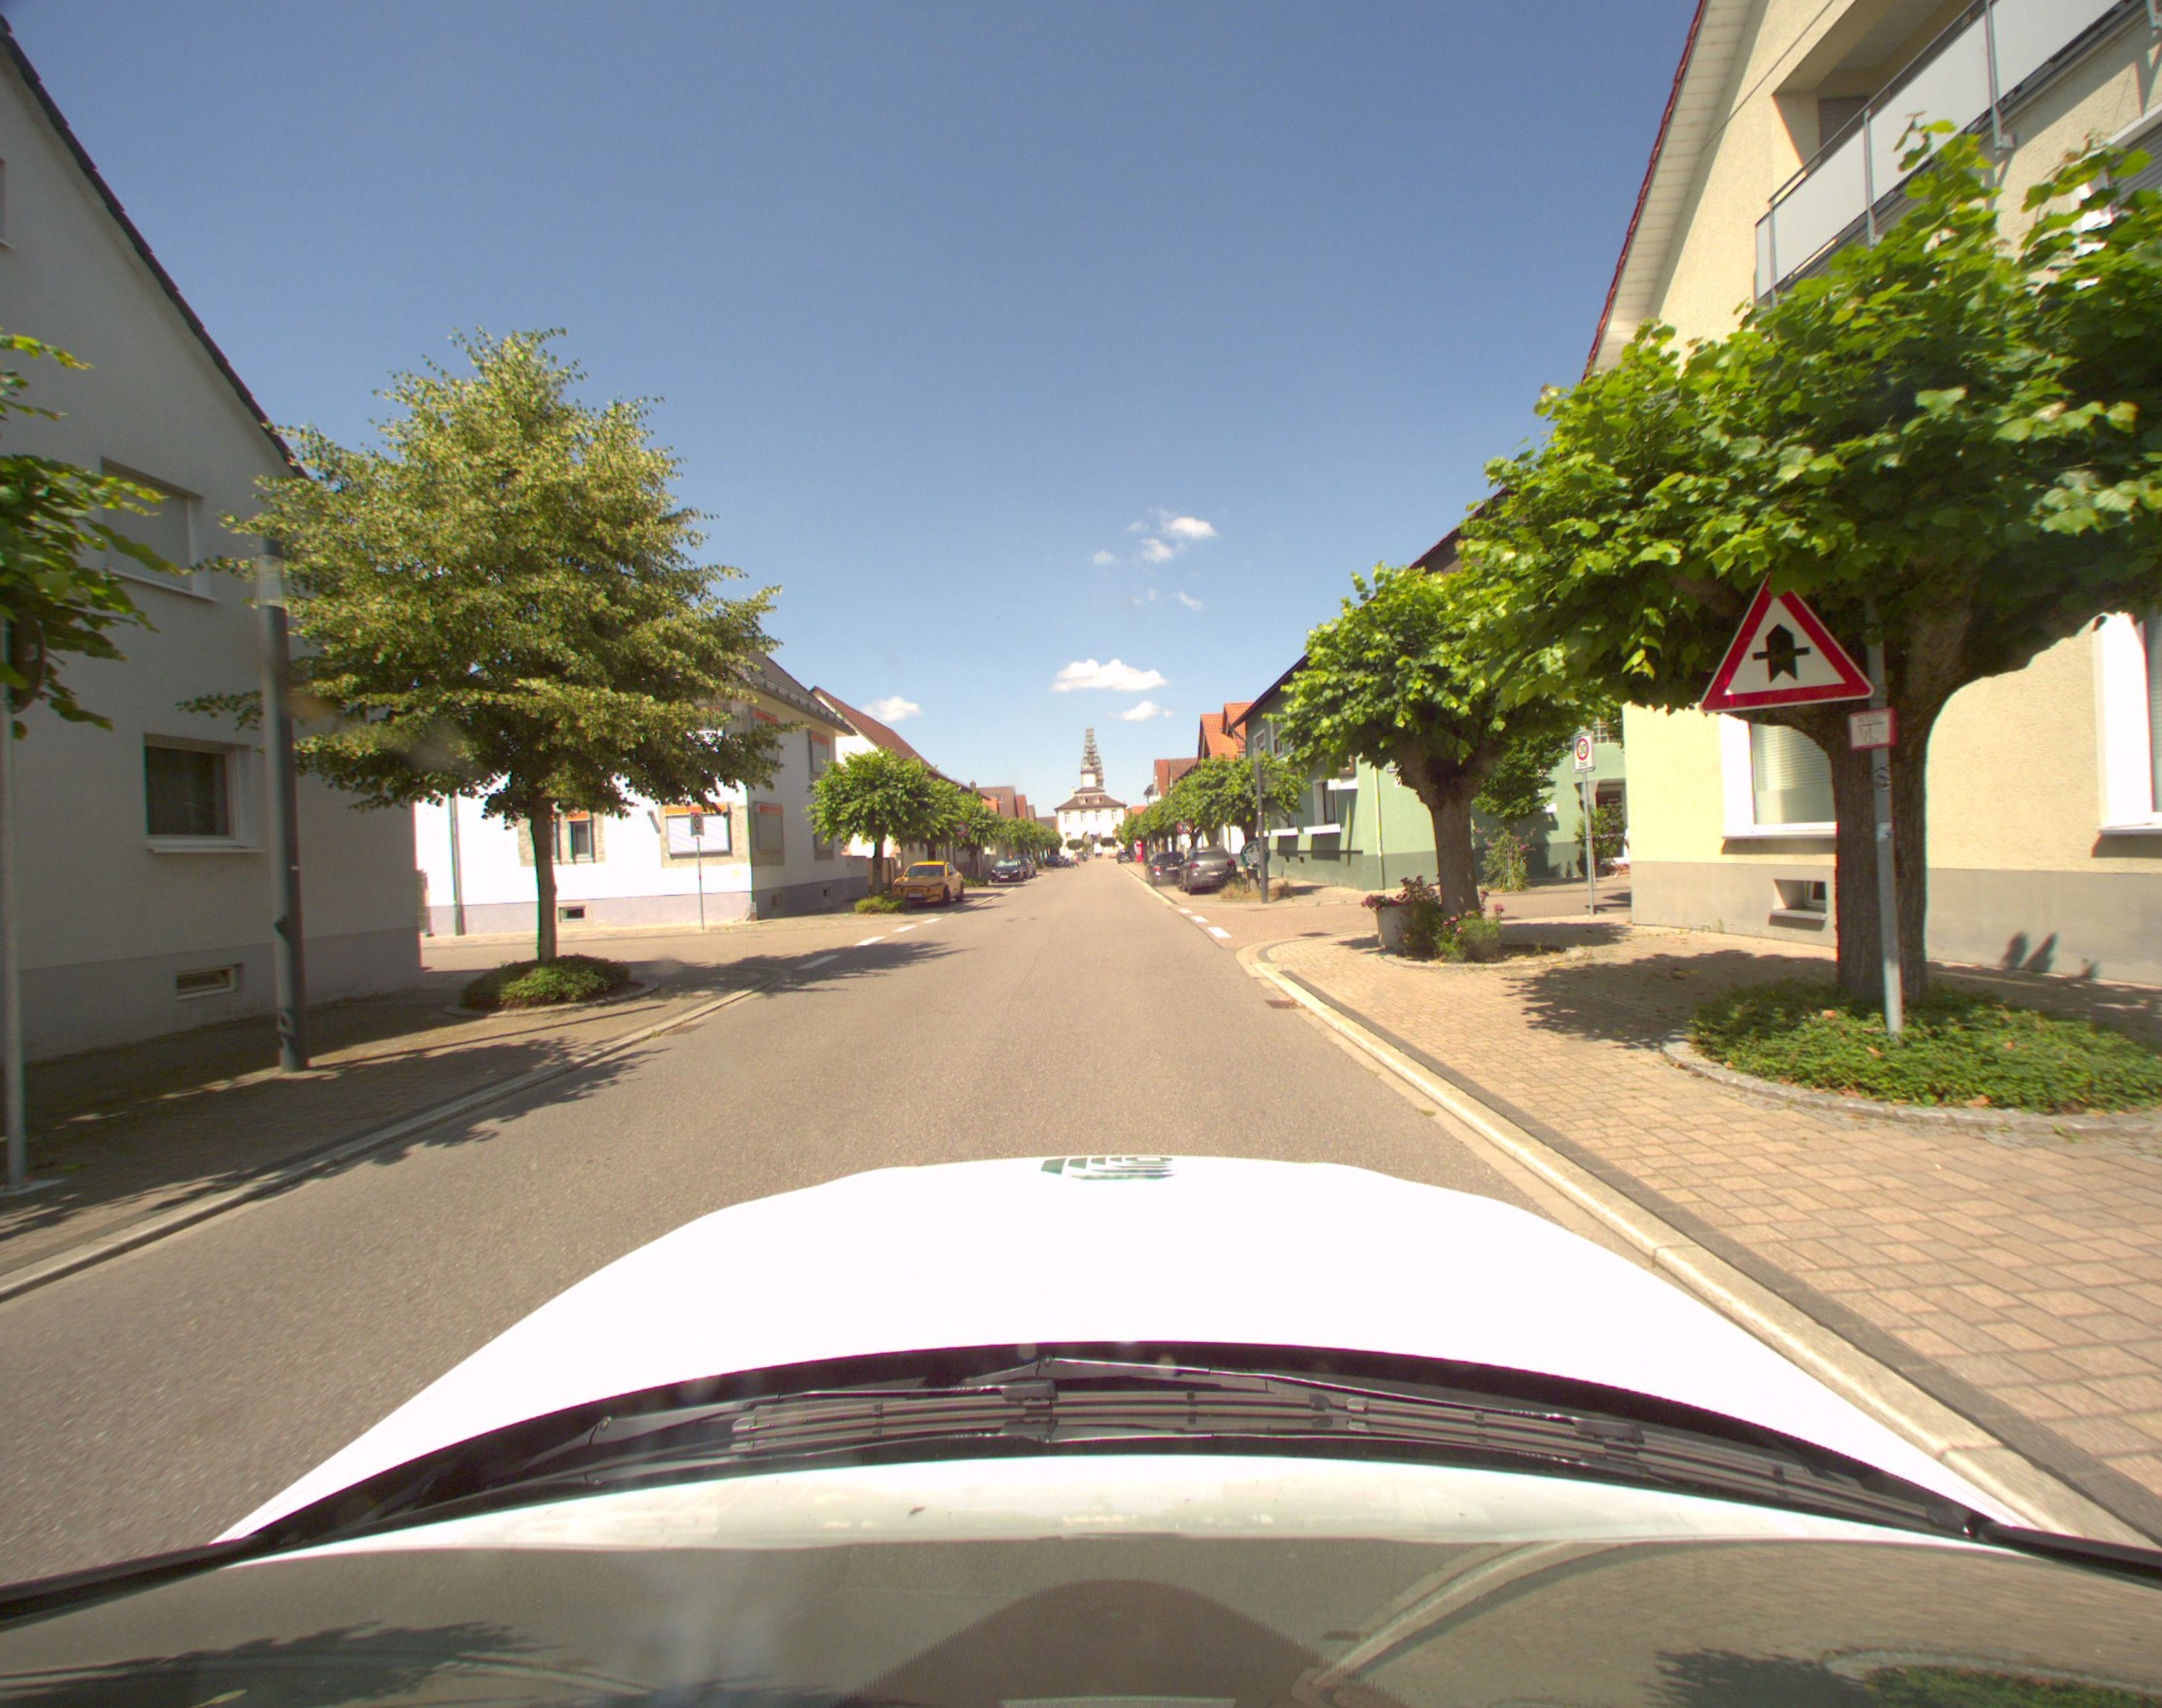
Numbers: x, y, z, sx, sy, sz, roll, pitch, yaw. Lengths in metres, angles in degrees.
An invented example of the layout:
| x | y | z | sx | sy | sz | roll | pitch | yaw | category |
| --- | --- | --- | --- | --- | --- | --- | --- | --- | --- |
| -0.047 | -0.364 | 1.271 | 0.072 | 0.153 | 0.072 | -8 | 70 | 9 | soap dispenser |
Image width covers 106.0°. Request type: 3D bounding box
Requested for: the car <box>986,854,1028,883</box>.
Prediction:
| x | y | z | sx | sy | sz | roll | pitch | yaw | category |
| --- | --- | --- | --- | --- | --- | --- | --- | --- | --- |
| -4.615 | 0.878 | 51.321 | 1.986 | 1.611 | 4.692 | -1 | 1 | 2 | car |

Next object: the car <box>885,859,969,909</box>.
| x | y | z | sx | sy | sz | roll | pitch | yaw | category |
| --- | --- | --- | --- | --- | --- | --- | --- | --- | --- |
| -5.537 | 1.022 | 29.927 | 1.986 | 1.611 | 4.691 | -1 | 0 | 2 | car |

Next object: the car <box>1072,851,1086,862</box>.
| x | y | z | sx | sy | sz | roll | pitch | yaw | category |
| --- | --- | --- | --- | --- | --- | --- | --- | --- | --- |
| -0.353 | 0.358 | 126.975 | 1.989 | 1.611 | 4.501 | -1 | -1 | -3 | car |

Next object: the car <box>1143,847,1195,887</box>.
| x | y | z | sx | sy | sz | roll | pitch | yaw | category |
| --- | --- | --- | --- | --- | --- | --- | --- | --- | --- |
| 3.941 | 0.548 | 37.103 | 1.831 | 1.555 | 4.314 | -5 | 0 | 1 | car |

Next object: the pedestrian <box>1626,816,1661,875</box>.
| x | y | z | sx | sy | sz | roll | pitch | yaw | category |
| --- | --- | --- | --- | --- | --- | --- | --- | --- | --- |
| 15.143 | -0.229 | 21.934 | 0.543 | 1.570 | 0.545 | -1 | -1 | -3 | pedestrian |

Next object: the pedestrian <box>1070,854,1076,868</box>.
| x | y | z | sx | sy | sz | roll | pitch | yaw | category |
| --- | --- | --- | --- | --- | --- | --- | --- | --- | --- |
| -0.846 | 0.754 | 85.786 | 0.354 | 1.403 | 0.322 | -3 | 0 | 38 | pedestrian |

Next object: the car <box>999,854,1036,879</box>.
| x | y | z | sx | sy | sz | roll | pitch | yaw | category |
| --- | --- | --- | --- | --- | --- | --- | --- | --- | --- |
| -4.384 | 0.851 | 57.053 | 1.986 | 1.611 | 4.691 | -1 | -1 | 2 | car |

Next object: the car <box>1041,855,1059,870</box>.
| x | y | z | sx | sy | sz | roll | pitch | yaw | category |
| --- | --- | --- | --- | --- | --- | --- | --- | --- | --- |
| -3.561 | 0.990 | 94.329 | 1.751 | 1.555 | 4.022 | -3 | 0 | 2 | car |

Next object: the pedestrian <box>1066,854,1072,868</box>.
| x | y | z | sx | sy | sz | roll | pitch | yaw | category |
| --- | --- | --- | --- | --- | --- | --- | --- | --- | --- |
| -1.260 | 0.760 | 85.580 | 0.354 | 1.403 | 0.322 | -3 | 0 | 38 | pedestrian |

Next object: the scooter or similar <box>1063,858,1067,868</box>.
| x | y | z | sx | sy | sz | roll | pitch | yaw | category |
| --- | --- | --- | --- | --- | --- | --- | --- | --- | --- |
| -1.689 | 0.915 | 85.585 | 0.326 | 1.003 | 0.243 | -3 | 0 | 38 | scooter or similar |

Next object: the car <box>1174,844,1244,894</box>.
| x | y | z | sx | sy | sz | roll | pitch | yaw | category |
| --- | --- | --- | --- | --- | --- | --- | --- | --- | --- |
| 4.531 | 0.495 | 29.430 | 1.831 | 1.607 | 3.999 | -3 | 0 | 0 | car |

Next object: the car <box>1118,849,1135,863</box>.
| x | y | z | sx | sy | sz | roll | pitch | yaw | category |
| --- | --- | --- | --- | --- | --- | --- | --- | --- | --- |
| 5.589 | 0.281 | 99.800 | 1.830 | 1.555 | 4.315 | -5 | 0 | 2 | car |

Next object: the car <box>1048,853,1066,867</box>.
| x | y | z | sx | sy | sz | roll | pitch | yaw | category |
| --- | --- | --- | --- | --- | --- | --- | --- | --- | --- |
| -2.932 | 0.721 | 100.068 | 1.986 | 1.611 | 3.857 | -1 | -1 | 2 | car |

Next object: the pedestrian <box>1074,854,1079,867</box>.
| x | y | z | sx | sy | sz | roll | pitch | yaw | category |
| --- | --- | --- | --- | --- | --- | --- | --- | --- | --- |
| -0.455 | 0.683 | 84.948 | 0.354 | 1.403 | 0.322 | -3 | 0 | 38 | pedestrian |
